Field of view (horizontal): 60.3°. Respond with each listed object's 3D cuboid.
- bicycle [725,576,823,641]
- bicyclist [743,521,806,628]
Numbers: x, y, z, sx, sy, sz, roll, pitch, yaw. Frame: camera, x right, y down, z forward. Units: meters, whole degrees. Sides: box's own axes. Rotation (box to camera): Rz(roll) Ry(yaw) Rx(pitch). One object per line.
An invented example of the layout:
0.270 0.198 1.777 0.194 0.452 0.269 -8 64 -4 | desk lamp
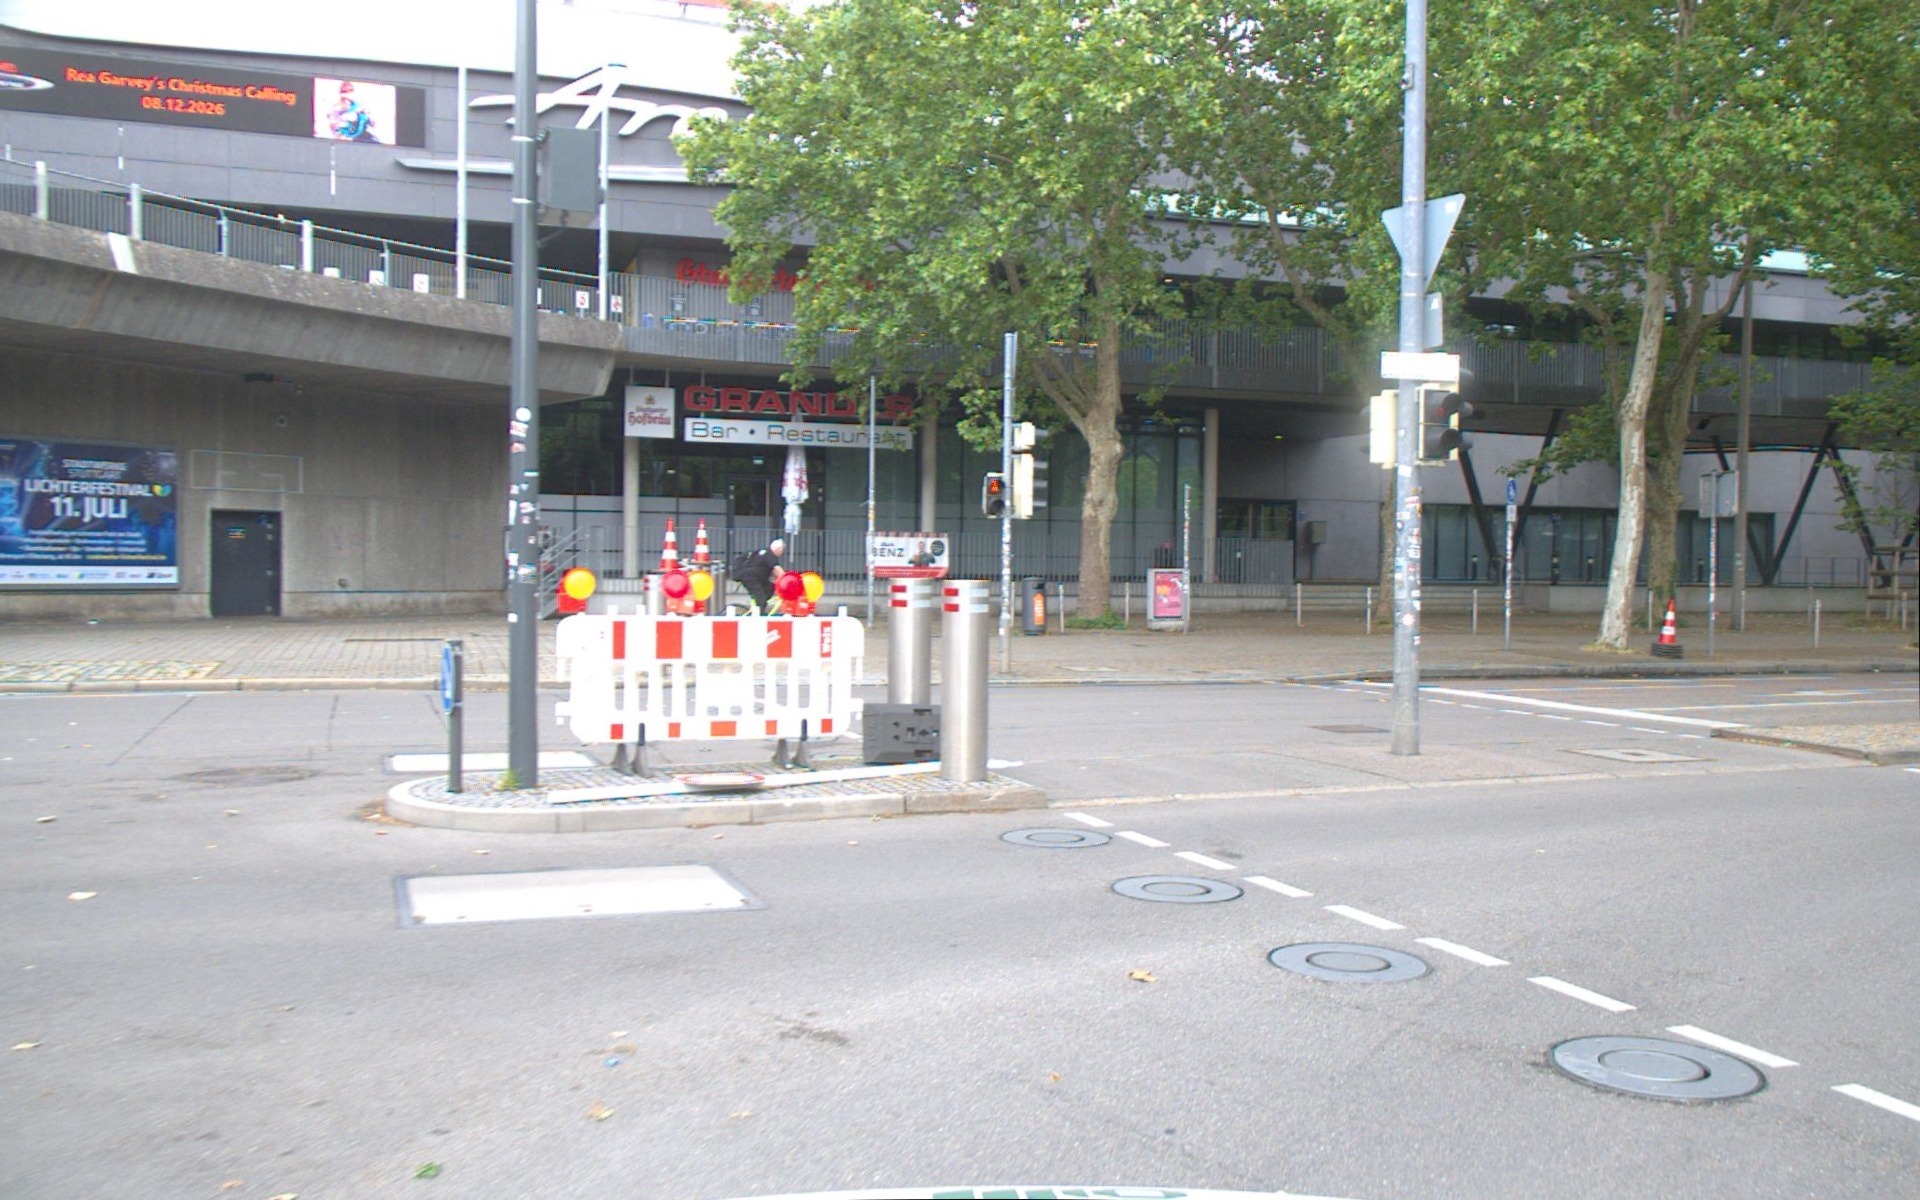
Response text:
-3.088 0.138 27.451 1.510 1.031 0.514 2 0 -21 | bicycle
-3.078 -0.422 27.458 0.839 1.727 0.762 2 0 -20 | bicyclist
